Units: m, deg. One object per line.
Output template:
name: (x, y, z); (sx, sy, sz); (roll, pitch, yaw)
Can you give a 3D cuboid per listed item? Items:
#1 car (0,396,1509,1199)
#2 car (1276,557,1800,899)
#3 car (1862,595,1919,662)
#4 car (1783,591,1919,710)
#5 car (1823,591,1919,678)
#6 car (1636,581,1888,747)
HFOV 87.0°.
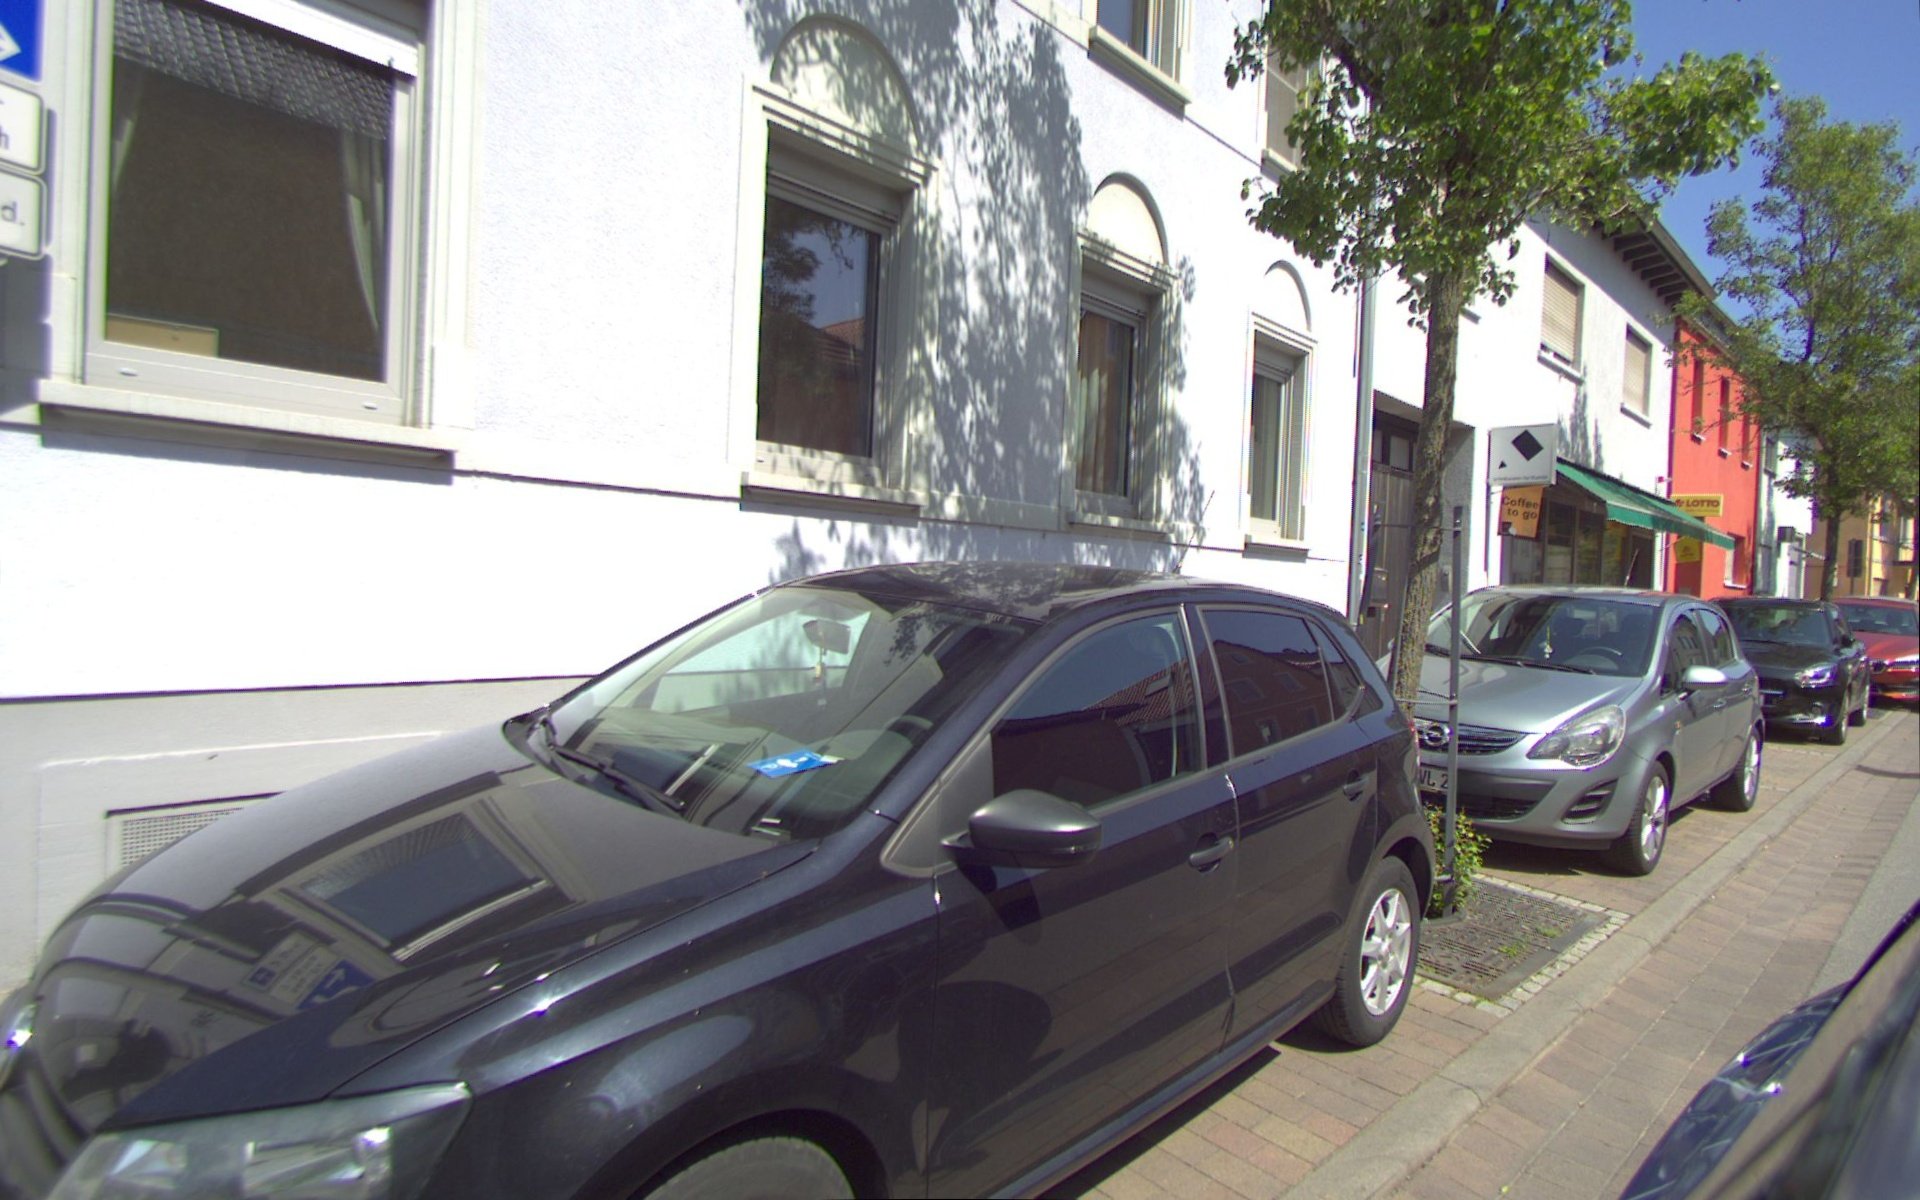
car: (-0.108, 0.521, 2.802); (3.856, 1.499, 1.706); (1, 4, -44)
car: (3.922, 0.570, 6.555); (4.025, 1.499, 1.721); (1, 3, -42)
car: (24.448, 0.727, 25.850); (3.930, 1.562, 1.713); (2, 2, -43)
car: (14.153, 0.694, 15.687); (1.830, 1.608, 4.023); (2, 1, 44)
car: (20.033, 0.655, 21.766); (4.586, 1.705, 1.868); (0, 1, -45)
car: (9.362, 0.644, 11.720); (3.672, 1.532, 1.739); (2, 2, -44)
